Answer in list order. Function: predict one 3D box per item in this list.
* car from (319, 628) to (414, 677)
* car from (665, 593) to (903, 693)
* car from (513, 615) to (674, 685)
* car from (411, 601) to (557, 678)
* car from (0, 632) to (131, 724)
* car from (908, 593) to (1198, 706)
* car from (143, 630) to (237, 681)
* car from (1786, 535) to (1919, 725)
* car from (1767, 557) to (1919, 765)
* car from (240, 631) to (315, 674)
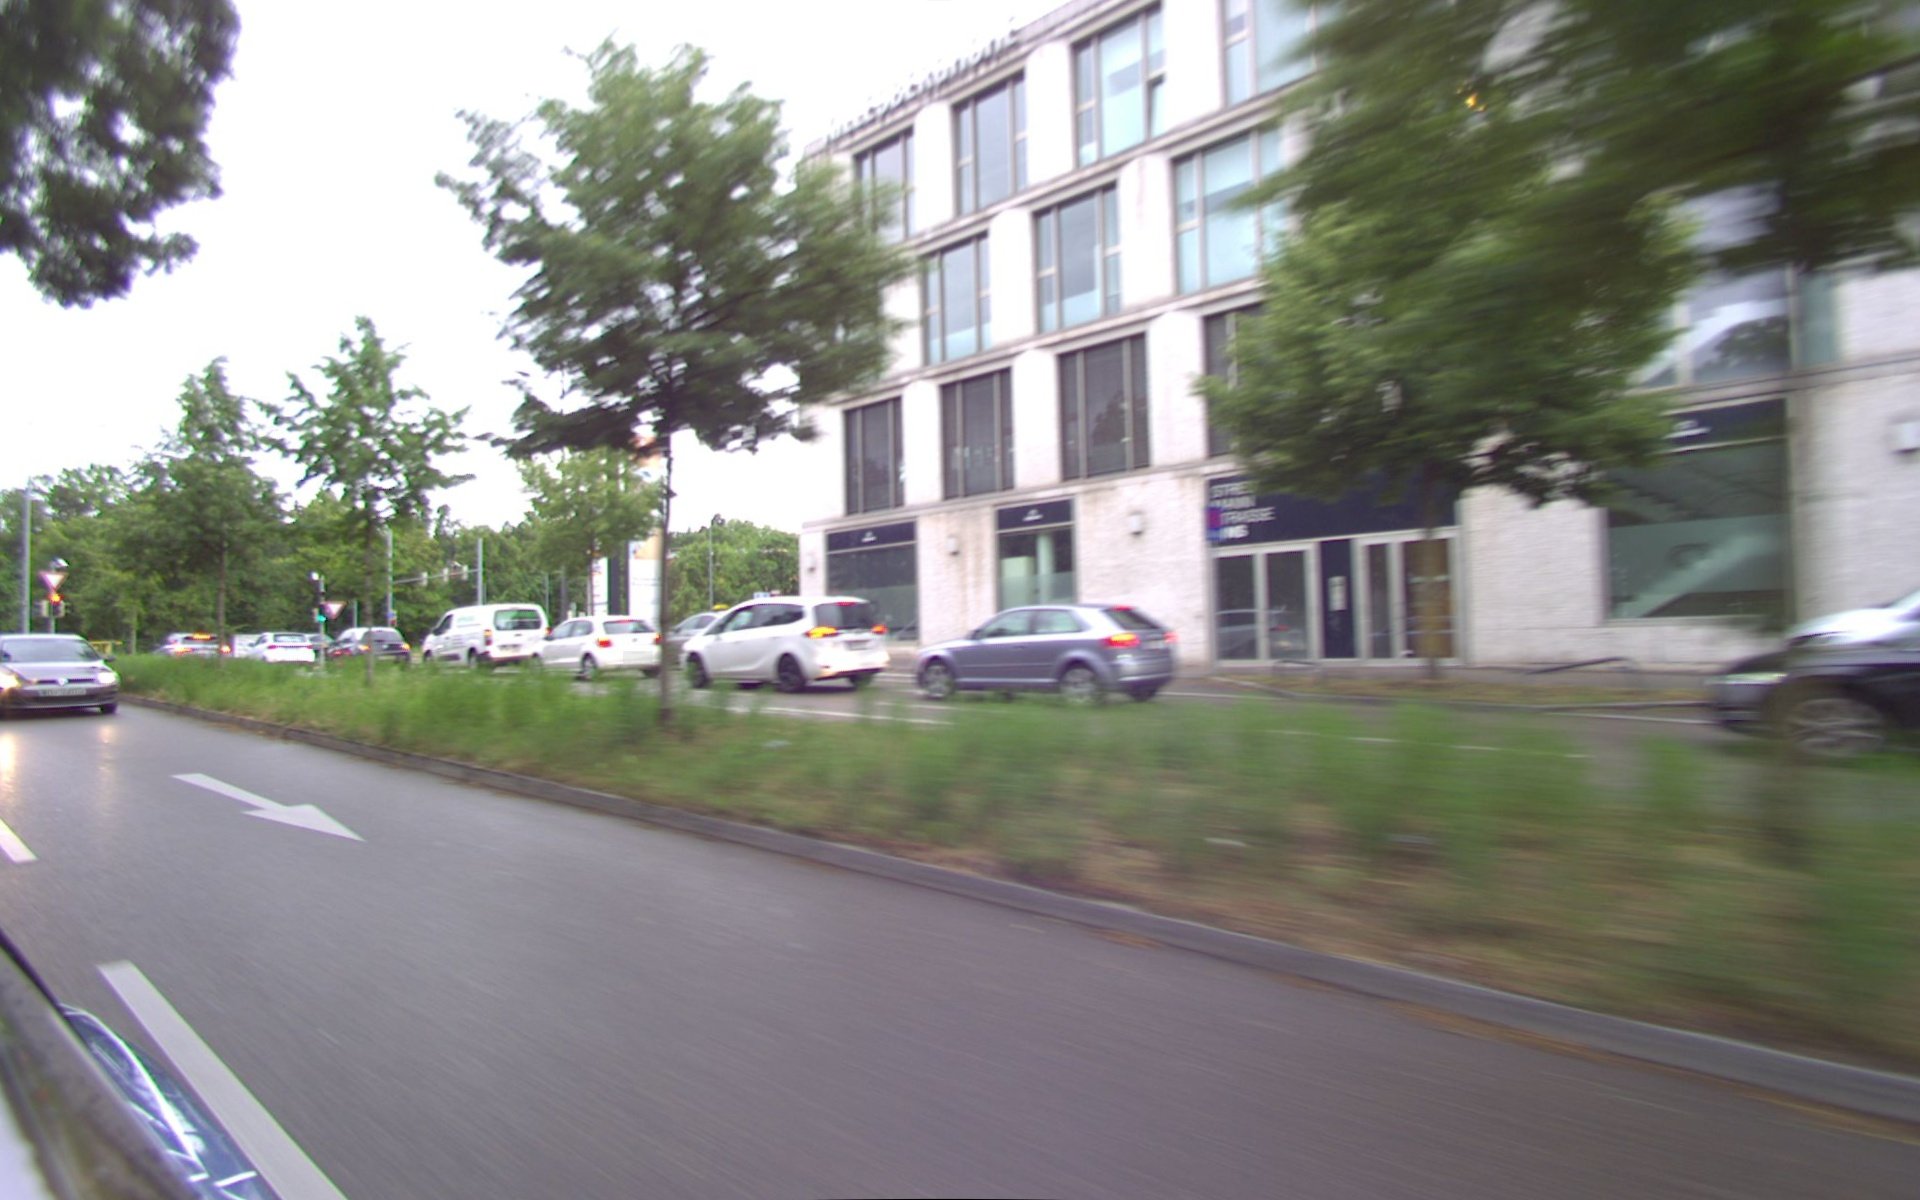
[{"bbox_3d":[-19.331,1.737,32.937,3.750,1.471,1.696,-5,-5,43],"label":"car"},{"bbox_3d":[-3.337,0.745,18.546,4.673,1.613,1.810,-1,-1,42],"label":"car"},{"bbox_3d":[-8.511,1.114,23.343,4.057,1.479,1.725,-2,-3,41],"label":"car"},{"bbox_3d":[-12.856,1.088,27.196,4.771,1.816,1.824,-5,-3,42],"label":"car"},{"bbox_3d":[-16.829,1.353,18.536,3.998,1.450,1.880,-2,-1,41],"label":"car"},{"bbox_3d":[1.235,0.719,14.618,3.995,1.422,1.624,-3,-4,41],"label":"car"},{"bbox_3d":[-27.545,2.011,36.174,4.161,1.587,1.830,-5,-3,40],"label":"car"},{"bbox_3d":[11.174,0.264,9.494,5.256,1.829,2.100,-1,-1,40],"label":"car"},{"bbox_3d":[8.729,0.447,7.663,4.016,1.593,1.677,-1,0,42],"label":"car"},{"bbox_3d":[-26.993,2.095,39.975,3.701,1.588,1.632,-5,-5,42],"label":"car"}]
